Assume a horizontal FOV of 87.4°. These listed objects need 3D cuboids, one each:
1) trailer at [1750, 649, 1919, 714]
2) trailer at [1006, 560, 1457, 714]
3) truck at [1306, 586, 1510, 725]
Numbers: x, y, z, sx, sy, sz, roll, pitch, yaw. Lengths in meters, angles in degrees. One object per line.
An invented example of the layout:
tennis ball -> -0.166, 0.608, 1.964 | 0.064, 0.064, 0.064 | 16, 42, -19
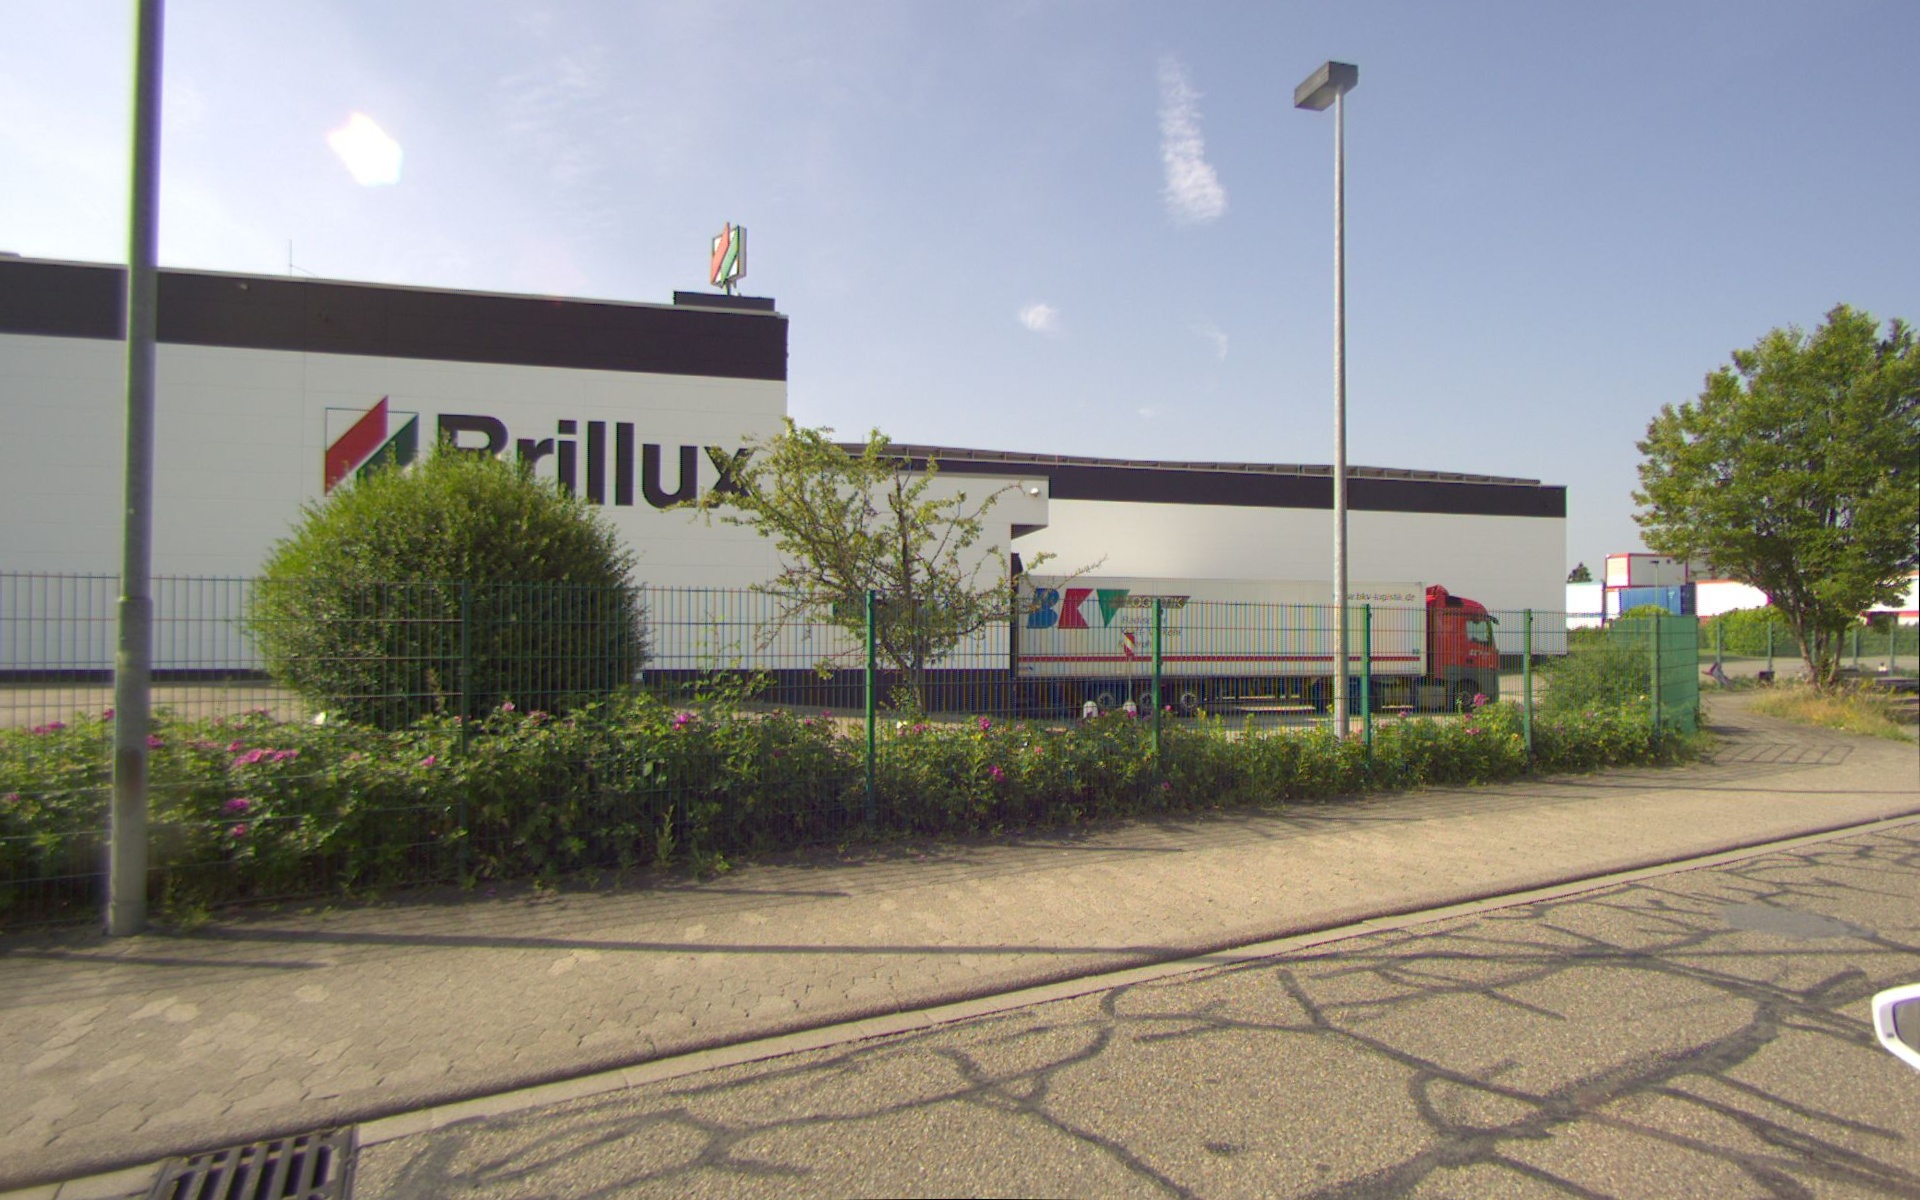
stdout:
trailer -> 19.609, 1.615, 21.025 | 6.630, 0.937, 2.535 | 1, 2, -30
trailer -> 8.380, 1.204, 30.739 | 13.649, 4.095, 2.484 | 2, 0, -13
truck -> 14.285, 1.763, 32.140 | 5.449, 4.125, 2.514 | 2, 0, -13
